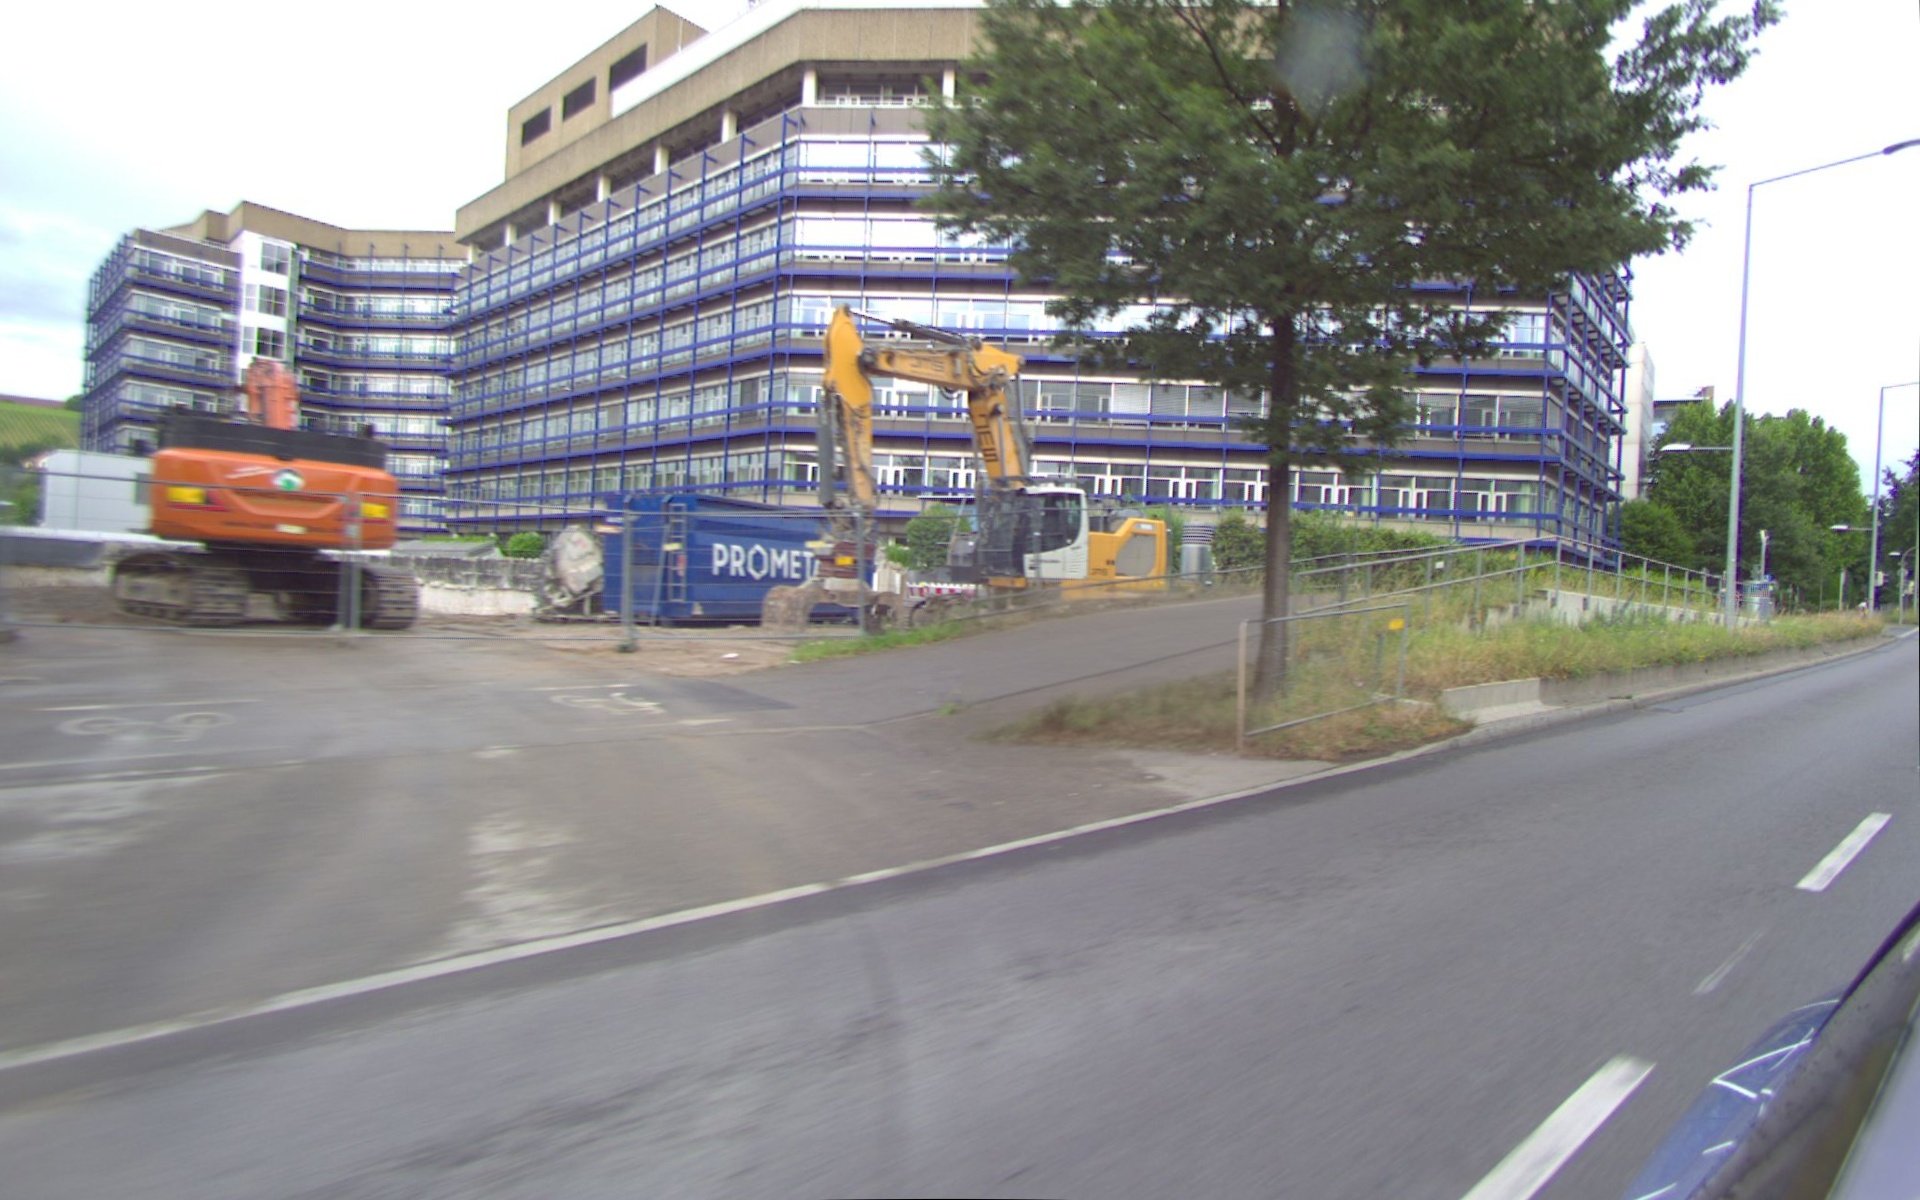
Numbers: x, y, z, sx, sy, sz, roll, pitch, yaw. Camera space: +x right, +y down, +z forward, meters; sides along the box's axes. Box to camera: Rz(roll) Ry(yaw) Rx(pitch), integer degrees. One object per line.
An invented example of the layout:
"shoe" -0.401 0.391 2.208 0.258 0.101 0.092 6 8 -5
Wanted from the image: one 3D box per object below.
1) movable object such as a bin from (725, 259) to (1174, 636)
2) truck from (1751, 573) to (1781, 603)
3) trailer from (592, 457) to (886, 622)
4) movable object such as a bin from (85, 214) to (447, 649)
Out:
"movable object such as a bin" 0.147 -2.400 19.555 8.611 5.756 3.296 -1 0 -41
"truck" 68.744 -1.030 86.338 1.745 2.549 3.939 0 1 42
"trailer" -4.583 -1.185 22.872 2.618 3.081 7.436 0 1 24
"movable object such as a bin" -13.066 -2.347 18.222 3.726 5.325 12.159 -1 3 -42
